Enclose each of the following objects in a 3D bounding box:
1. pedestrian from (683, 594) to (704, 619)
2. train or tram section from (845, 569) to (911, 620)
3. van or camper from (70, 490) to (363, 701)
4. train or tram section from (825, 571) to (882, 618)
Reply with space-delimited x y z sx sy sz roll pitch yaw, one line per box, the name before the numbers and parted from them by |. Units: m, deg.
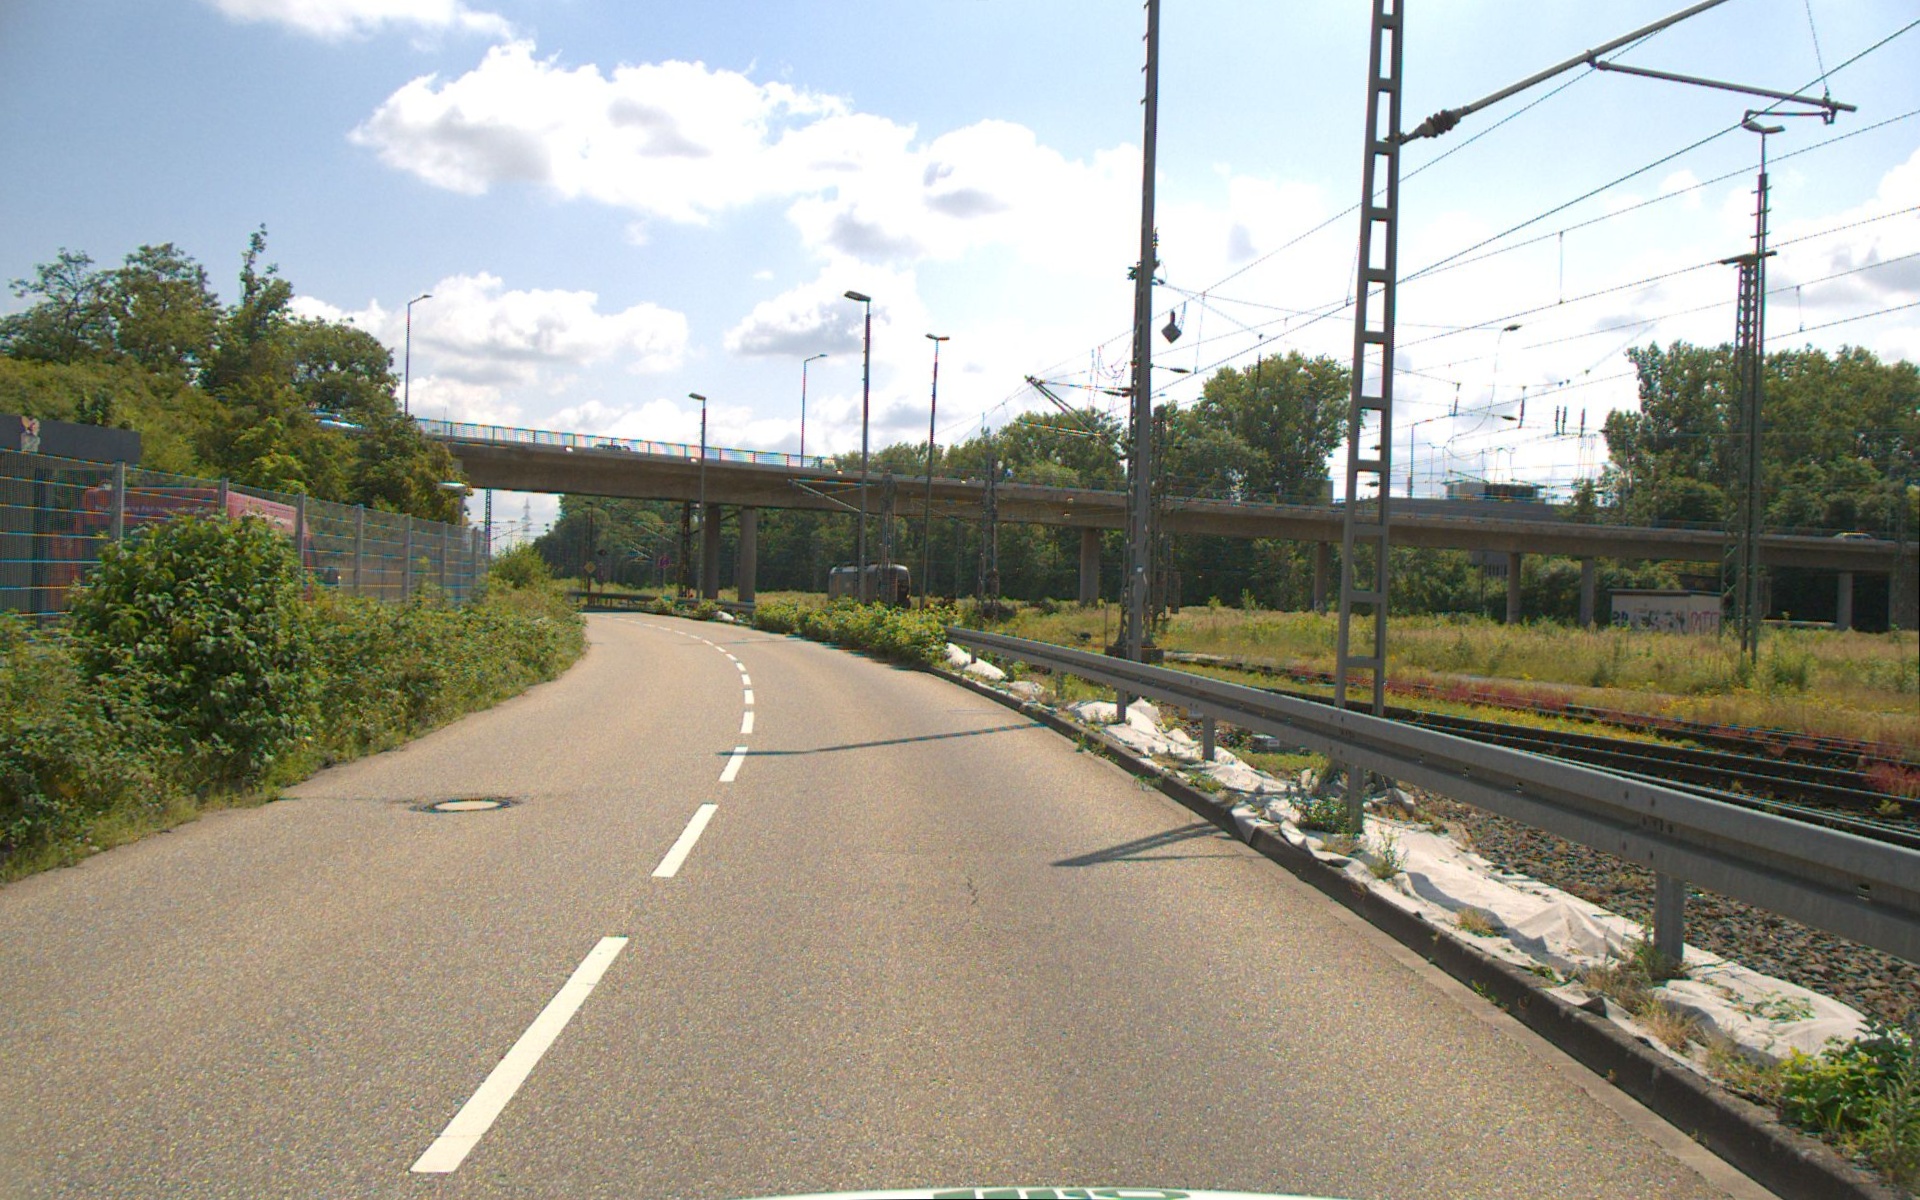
pedestrian | -17.574 0.433 108.922 1.093 1.567 1.570 2 -1 -20
train or tram section | -6.155 -0.364 122.537 2.844 3.570 8.526 1 -1 -17
van or camper | -10.135 -0.086 23.134 2.147 2.558 5.693 -1 0 -7
train or tram section | -8.489 -0.439 130.617 2.711 3.538 8.201 1 -1 -17
